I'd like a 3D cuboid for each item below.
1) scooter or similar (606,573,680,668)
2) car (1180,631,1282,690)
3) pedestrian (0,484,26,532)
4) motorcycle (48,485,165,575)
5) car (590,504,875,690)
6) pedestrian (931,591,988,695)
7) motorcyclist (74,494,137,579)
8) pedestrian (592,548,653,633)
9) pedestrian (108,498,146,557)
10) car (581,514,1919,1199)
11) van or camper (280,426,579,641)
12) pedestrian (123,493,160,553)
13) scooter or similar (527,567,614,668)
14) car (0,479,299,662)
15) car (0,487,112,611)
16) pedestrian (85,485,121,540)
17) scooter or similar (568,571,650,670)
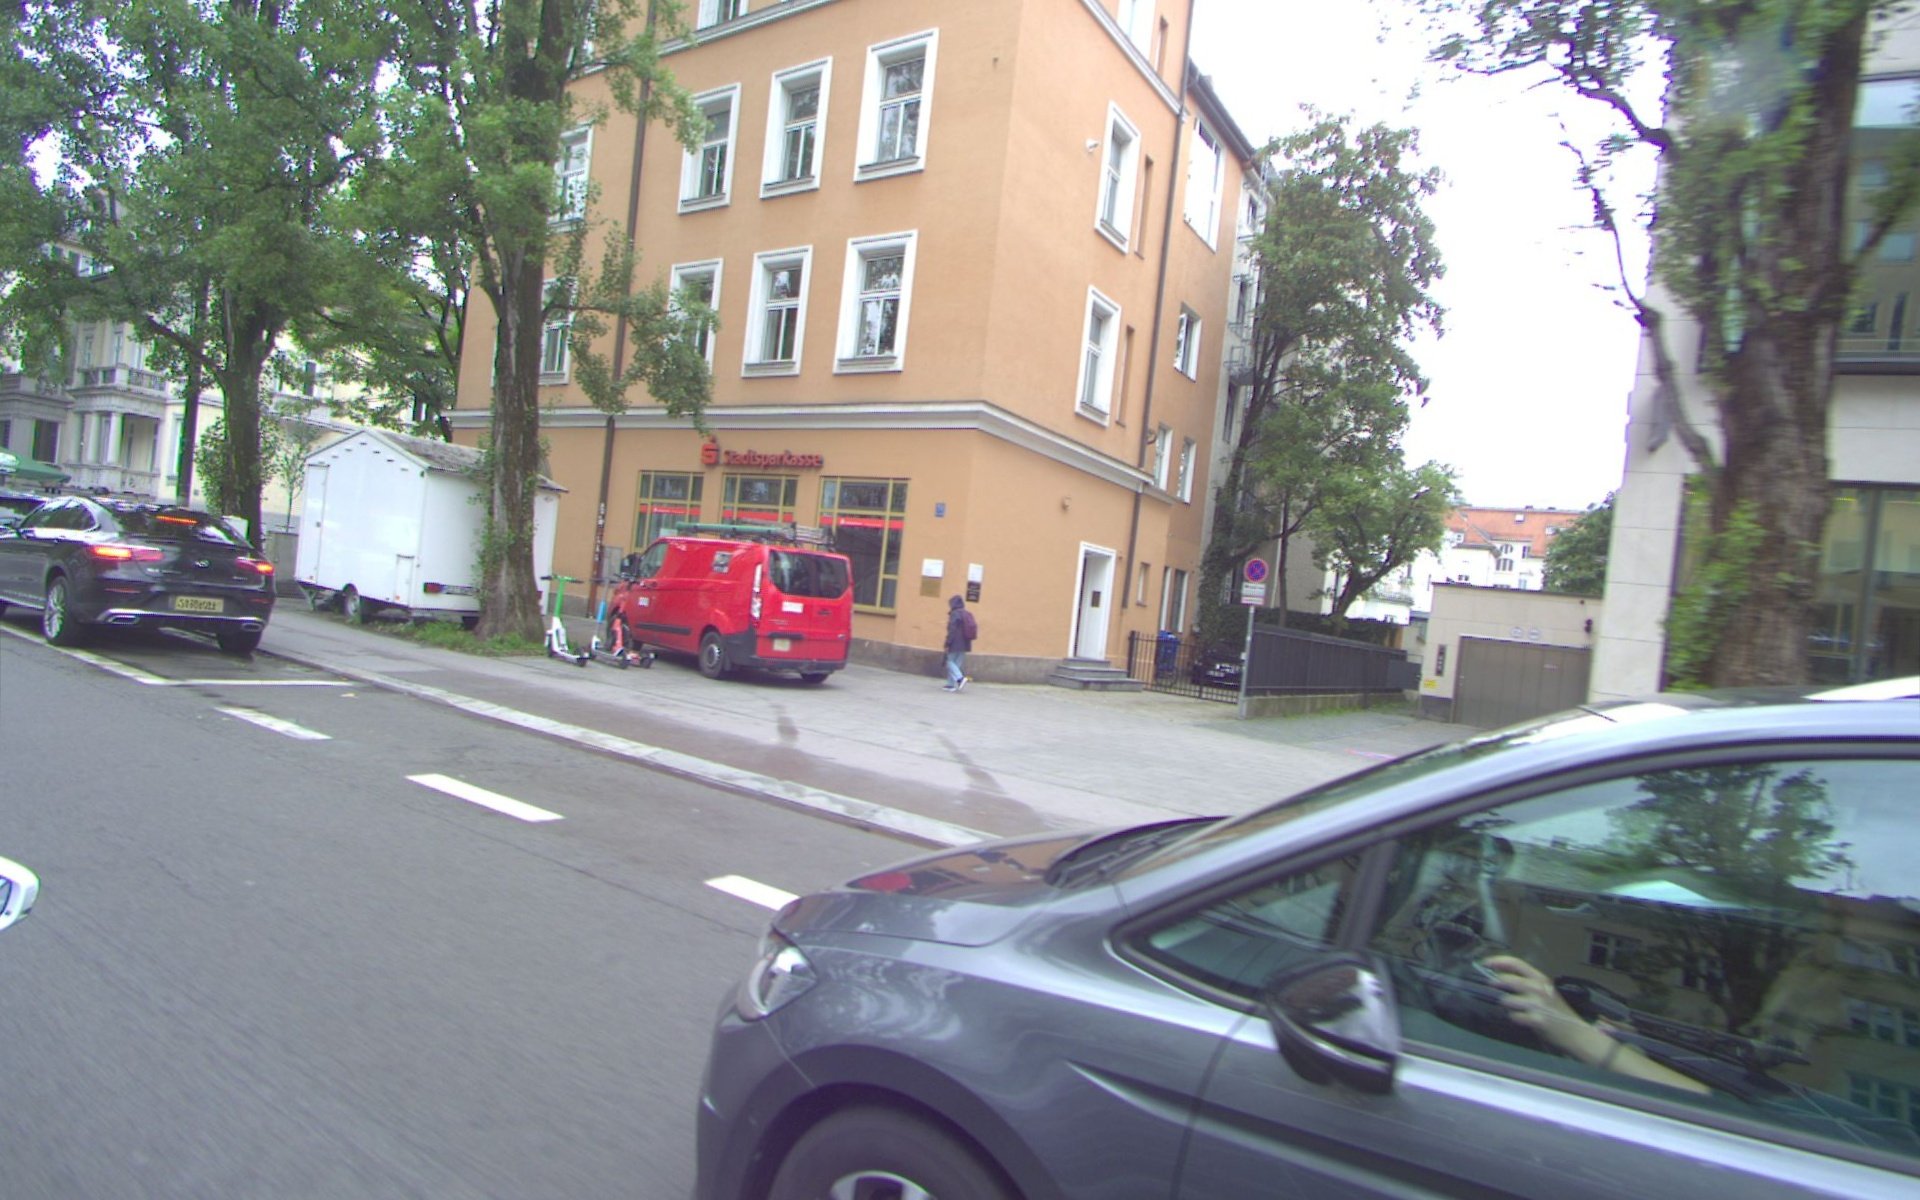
[{"bbox_3d":[-4.589,0.289,14.532,0.484,1.249,1.153,3,3,-44],"label":"scooter or similar"},{"bbox_3d":[8.392,1.873,30.904,1.724,1.473,4.118,7,0,33],"label":"car"},{"bbox_3d":[-39.814,-3.862,42.095,0.728,1.877,0.761,7,1,30],"label":"pedestrian"},{"bbox_3d":[-15.400,-1.265,18.139,2.214,1.388,0.827,7,2,30],"label":"motorcycle"},{"bbox_3d":[-3.670,-0.143,15.560,1.895,2.358,4.762,5,1,-45],"label":"car"},{"bbox_3d":[-0.007,0.672,16.192,0.701,1.571,0.606,6,2,5],"label":"pedestrian"},{"bbox_3d":[-15.411,-1.145,18.152,0.753,1.425,0.564,7,2,29],"label":"motorcyclist"},{"bbox_3d":[-6.992,-0.195,20.875,0.792,1.647,0.730,7,2,33],"label":"pedestrian"},{"bbox_3d":[-25.099,-2.184,30.320,0.663,1.671,0.621,6,1,-30],"label":"pedestrian"},{"bbox_3d":[1.478,0.902,1.712,4.115,1.633,1.763,6,-1,32],"label":"car"},{"bbox_3d":[-9.170,-1.173,17.295,4.640,3.152,2.460,7,1,34],"label":"van or camper"},{"bbox_3d":[-27.395,-2.565,33.670,0.755,1.895,0.700,6,-1,42],"label":"pedestrian"},{"bbox_3d":[-5.407,0.229,13.923,0.523,1.249,1.458,3,3,-44],"label":"scooter or similar"},{"bbox_3d":[-9.868,-0.412,11.801,4.510,1.662,1.881,7,1,34],"label":"car"},{"bbox_3d":[-14.435,-0.896,14.862,4.299,1.585,1.625,7,1,33],"label":"car"},{"bbox_3d":[-27.821,-2.848,32.660,0.755,1.666,0.647,6,-1,42],"label":"pedestrian"},{"bbox_3d":[-4.977,0.272,14.219,0.484,1.249,1.388,3,3,-44],"label":"scooter or similar"}]
